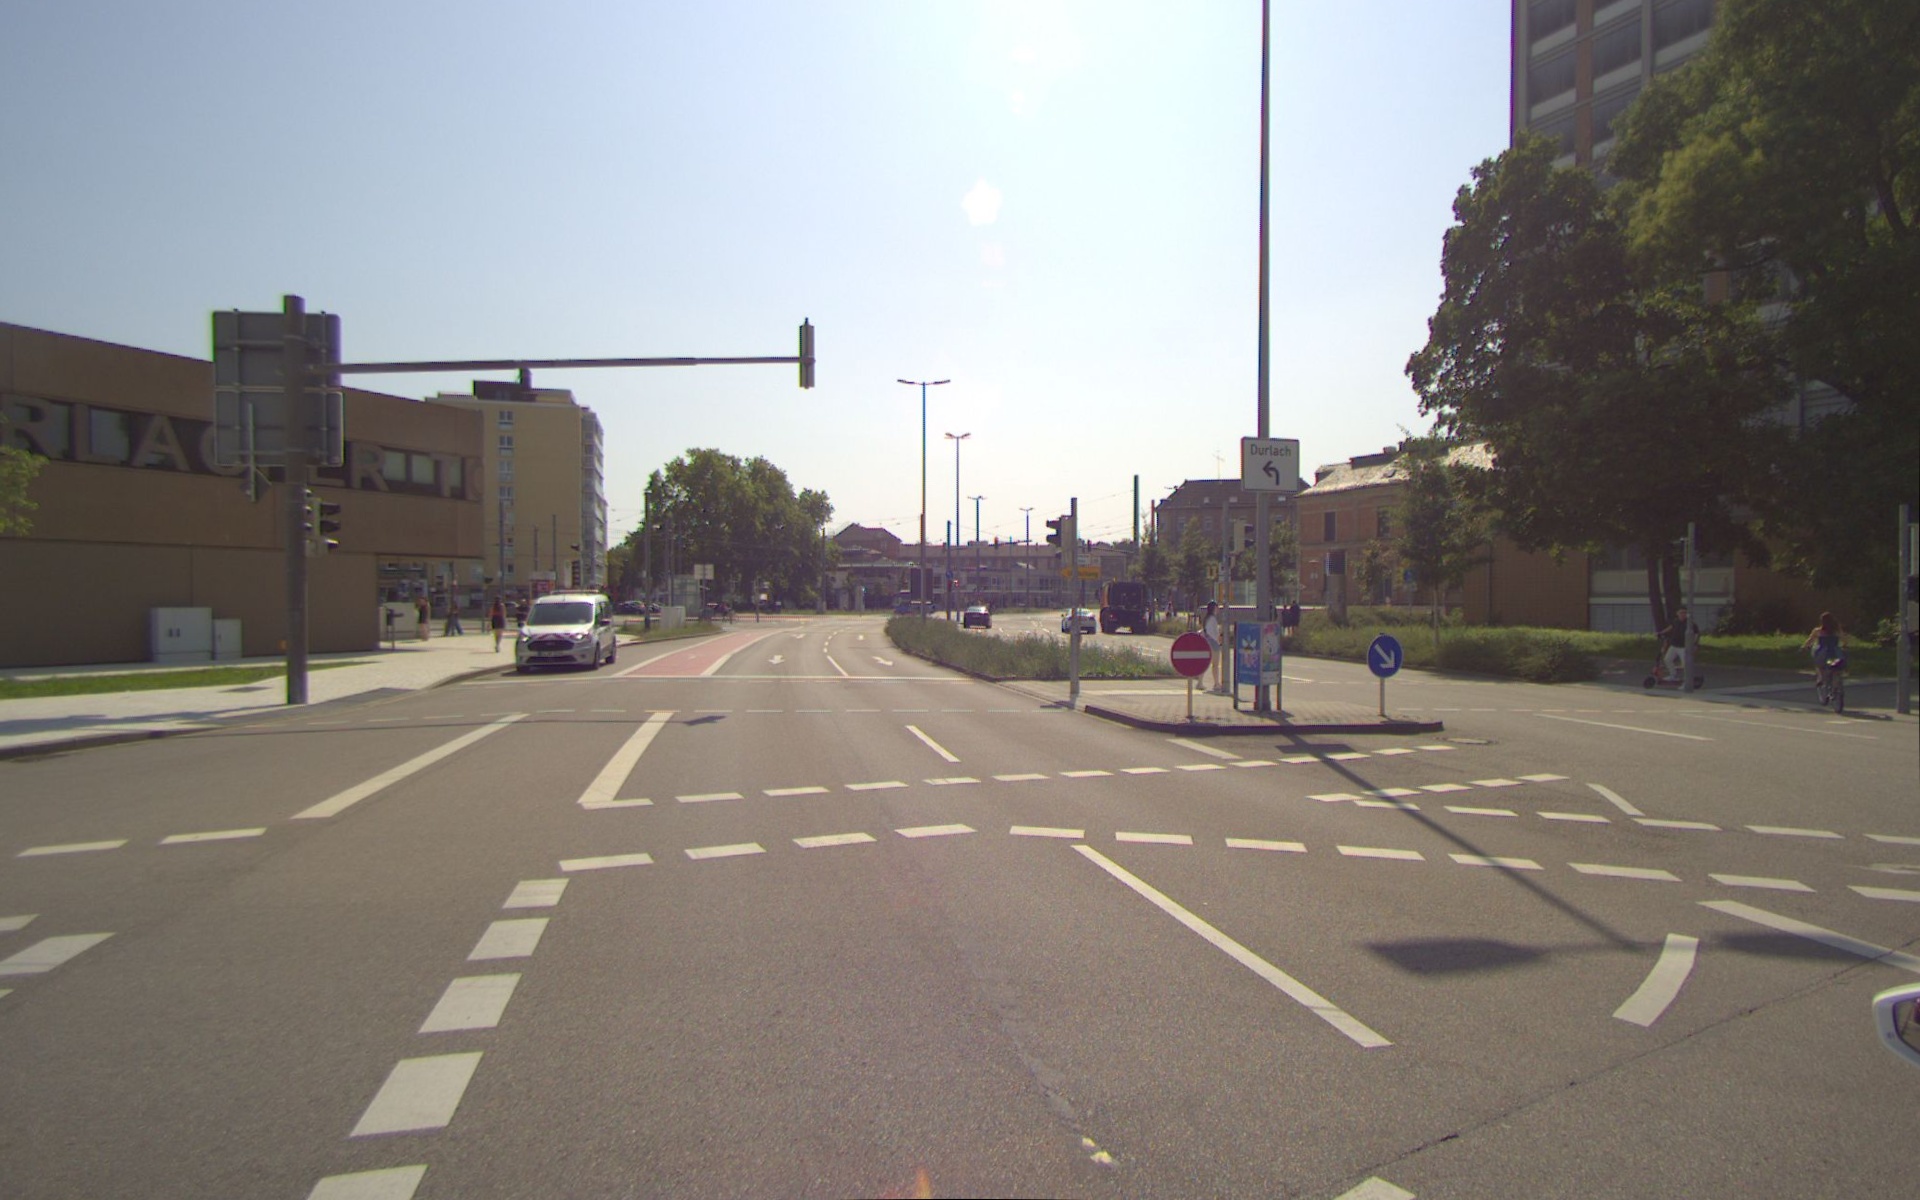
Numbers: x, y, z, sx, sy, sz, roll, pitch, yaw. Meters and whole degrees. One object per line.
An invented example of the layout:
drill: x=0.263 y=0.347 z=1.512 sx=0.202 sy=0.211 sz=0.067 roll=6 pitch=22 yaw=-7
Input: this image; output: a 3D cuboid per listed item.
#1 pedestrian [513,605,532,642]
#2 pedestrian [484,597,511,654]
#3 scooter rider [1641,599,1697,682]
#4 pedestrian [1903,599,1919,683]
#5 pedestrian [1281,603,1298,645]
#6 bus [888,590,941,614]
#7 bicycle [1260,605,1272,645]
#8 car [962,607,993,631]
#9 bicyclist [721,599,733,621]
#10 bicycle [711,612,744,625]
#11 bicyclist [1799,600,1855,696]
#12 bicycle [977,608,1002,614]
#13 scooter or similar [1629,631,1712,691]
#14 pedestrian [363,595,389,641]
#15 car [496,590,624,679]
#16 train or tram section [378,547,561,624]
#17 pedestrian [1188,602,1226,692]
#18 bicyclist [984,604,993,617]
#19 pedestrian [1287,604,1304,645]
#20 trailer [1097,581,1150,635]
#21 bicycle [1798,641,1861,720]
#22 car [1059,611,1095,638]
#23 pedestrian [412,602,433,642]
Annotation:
pedestrian: x=-20.469 y=1.100 z=46.977 sx=0.635 sy=1.725 sz=0.808 roll=0 pitch=0 yaw=-10
pedestrian: x=-14.139 y=0.765 z=30.740 sx=0.617 sy=1.725 sz=0.785 roll=0 pitch=0 yaw=-15
scooter rider: x=15.394 y=0.862 z=21.825 sx=0.789 sy=1.763 sz=0.689 roll=-1 pitch=0 yaw=13
pedestrian: x=20.272 y=0.851 z=20.766 sx=0.695 sy=1.727 sz=0.877 roll=-2 pitch=1 yaw=-11
pedestrian: x=16.155 y=1.172 z=49.287 sx=0.765 sy=1.999 sz=0.754 roll=0 pitch=0 yaw=15
bus: x=-5.813 y=0.279 z=131.102 sx=3.002 sy=2.970 sz=11.855 roll=0 pitch=0 yaw=17
bicycle: x=15.031 y=1.214 z=49.323 sx=0.447 sy=1.885 sz=1.363 roll=0 pitch=0 yaw=13
car: x=1.144 y=1.206 z=65.562 sx=1.728 sy=1.423 sz=3.982 roll=1 pitch=0 yaw=5
bicyclist: x=-17.356 y=0.753 z=74.694 sx=0.828 sy=1.664 sz=0.604 roll=0 pitch=0 yaw=-17
bicycle: x=-17.300 y=1.391 z=74.712 sx=2.377 sy=0.966 sz=0.601 roll=0 pitch=0 yaw=-17
bicyclist: x=15.352 y=0.833 z=17.805 sx=0.682 sy=1.620 sz=0.840 roll=-2 pitch=1 yaw=38
bicycle: x=3.595 y=1.288 z=121.654 sx=2.897 sy=0.737 sz=0.861 roll=0 pitch=0 yaw=-18
scooter or similar: x=15.456 y=1.317 z=21.868 sx=1.340 sy=1.251 sz=0.585 roll=-1 pitch=0 yaw=13
pedestrian: x=-22.770 y=0.699 z=39.139 sx=0.683 sy=1.787 sz=0.551 roll=0 pitch=0 yaw=14
car: x=-9.592 y=0.751 z=24.451 sx=1.964 sy=1.884 sz=4.326 roll=-2 pitch=0 yaw=-10
train or tram section: x=-25.187 y=-0.749 z=52.148 sx=3.087 sy=3.617 sz=8.233 roll=-1 pitch=1 yaw=27
pedestrian: x=4.778 y=0.891 z=19.442 sx=0.686 sy=1.717 sz=0.608 roll=0 pitch=0 yaw=13
bicyclist: x=3.483 y=1.258 z=121.615 sx=0.892 sy=1.521 sz=0.861 roll=0 pitch=0 yaw=-18
pedestrian: x=16.704 y=1.198 z=49.993 sx=0.765 sy=1.999 sz=0.754 roll=0 pitch=0 yaw=15
trailer: x=9.975 y=0.459 z=61.803 sx=2.421 sy=3.048 sz=6.326 roll=2 pitch=0 yaw=2
bicycle: x=15.239 y=1.362 z=17.639 sx=0.685 sy=1.170 sz=2.361 roll=-1 pitch=0 yaw=38
car: x=6.993 y=1.436 z=60.225 sx=1.728 sy=1.474 sz=4.426 roll=1 pitch=0 yaw=2
pedestrian: x=-20.995 y=0.857 z=39.245 sx=0.482 sy=1.559 sz=0.571 roll=0 pitch=0 yaw=27
